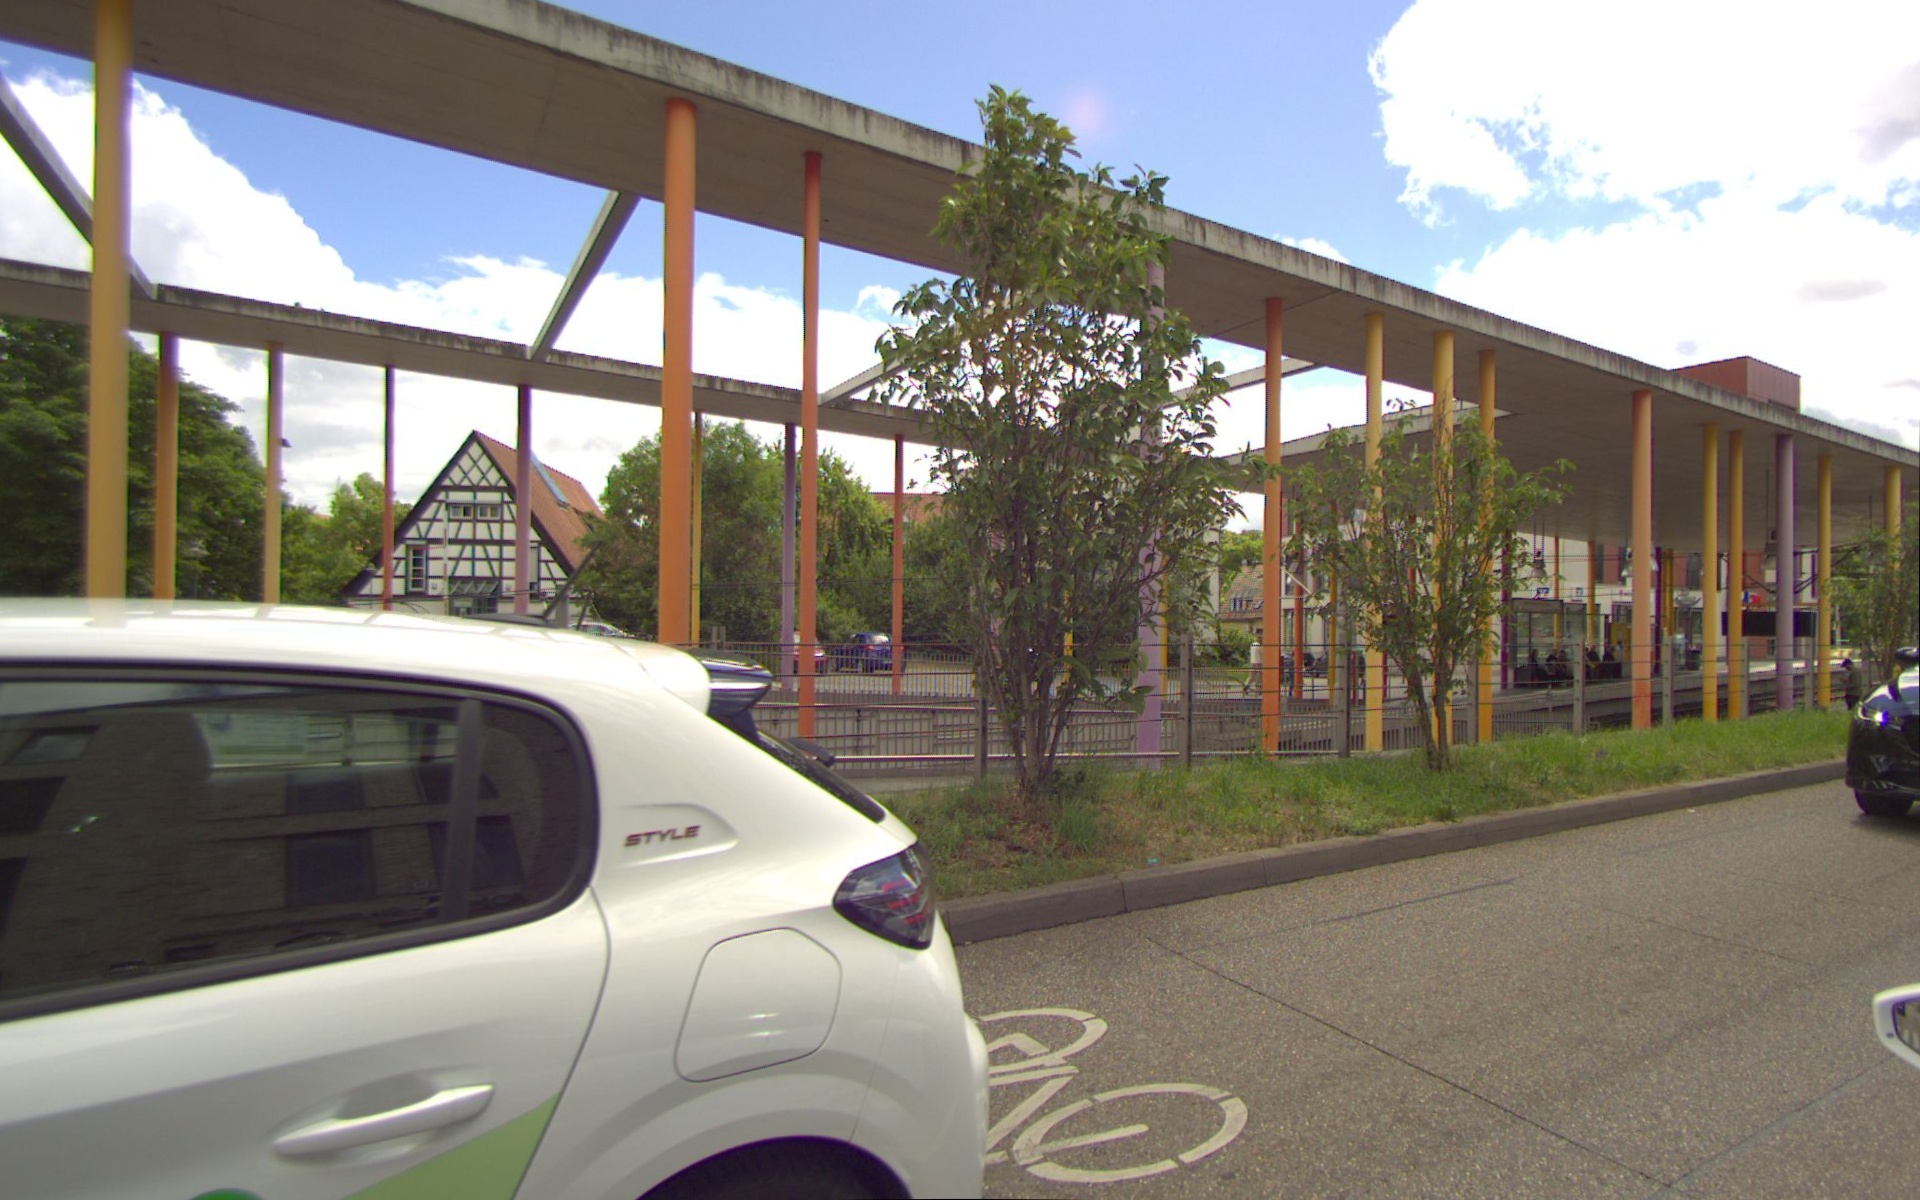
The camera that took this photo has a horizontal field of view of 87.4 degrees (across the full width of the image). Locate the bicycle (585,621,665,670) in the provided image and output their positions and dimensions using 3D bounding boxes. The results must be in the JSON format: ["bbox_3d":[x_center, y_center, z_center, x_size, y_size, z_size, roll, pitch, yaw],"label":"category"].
[{"bbox_3d":[-9.290,1.265,27.933,2.028,1.286,0.531,3,-1,-19],"label":"bicycle"}]

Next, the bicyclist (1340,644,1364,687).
[{"bbox_3d":[15.004,2.508,38.425,0.673,1.614,0.481,3,-1,-29],"label":"bicyclist"}]

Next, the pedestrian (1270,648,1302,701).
[{"bbox_3d":[10.628,2.434,32.762,0.722,1.683,0.638,3,-1,-31],"label":"pedestrian"}]

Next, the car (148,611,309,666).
[{"bbox_3d":[-24.025,1.214,33.182,3.943,1.692,1.894,0,0,-23],"label":"car"}]

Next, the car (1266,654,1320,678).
[{"bbox_3d":[20.205,4.033,61.054,1.617,1.342,3.715,3,-5,-8],"label":"car"}]

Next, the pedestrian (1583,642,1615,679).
[{"bbox_3d":[24.752,2.333,38.897,0.694,1.397,0.818,0,1,-30],"label":"pedestrian"}]

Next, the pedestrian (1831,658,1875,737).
[{"bbox_3d":[21.916,2.383,24.649,0.701,1.854,0.584,3,-1,-30],"label":"pedestrian"}]

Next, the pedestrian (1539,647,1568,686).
[{"bbox_3d":[22.157,2.469,37.504,0.694,1.397,0.648,0,1,-31],"label":"pedestrian"}]

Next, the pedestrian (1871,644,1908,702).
[{"bbox_3d":[27.323,2.127,29.533,0.628,1.636,0.626,0,1,-30],"label":"pedestrian"}]

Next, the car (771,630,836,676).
[{"bbox_3d":[-5.454,1.776,34.617,1.698,1.355,3.987,3,-1,-16],"label":"car"}]

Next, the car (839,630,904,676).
[{"bbox_3d":[-3.246,1.880,36.219,1.545,1.419,3.987,3,-1,-16],"label":"car"}]

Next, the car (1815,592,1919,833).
[{"bbox_3d":[8.587,0.807,7.701,4.578,1.626,1.908,1,0,-34],"label":"car"}]

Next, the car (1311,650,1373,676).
[{"bbox_3d":[21.119,3.534,55.705,1.617,1.342,3.715,3,-5,-8],"label":"car"}]

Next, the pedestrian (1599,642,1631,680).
[{"bbox_3d":[25.649,2.376,39.358,0.694,1.397,0.818,0,1,-30],"label":"pedestrian"}]

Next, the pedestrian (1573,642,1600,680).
[{"bbox_3d":[23.996,2.346,38.477,0.694,1.397,0.648,0,1,-31],"label":"pedestrian"}]

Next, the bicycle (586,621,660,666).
[{"bbox_3d":[-10.118,1.310,30.216,2.028,1.286,0.531,3,-1,-19],"label":"bicycle"}]

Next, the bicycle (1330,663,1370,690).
[{"bbox_3d":[14.916,2.938,38.387,1.593,0.975,0.481,3,-1,-29],"label":"bicycle"}]

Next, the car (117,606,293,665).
[{"bbox_3d":[-23.089,1.051,30.914,3.943,1.692,1.894,0,0,-23],"label":"car"}]

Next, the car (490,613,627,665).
[{"bbox_3d":[-13.831,1.351,34.880,4.201,1.595,1.907,3,-1,-19],"label":"car"}]

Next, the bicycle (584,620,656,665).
[{"bbox_3d":[-10.409,1.314,30.809,2.028,1.286,0.531,3,-1,-19],"label":"bicycle"}]

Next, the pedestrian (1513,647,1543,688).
[{"bbox_3d":[20.689,2.449,36.592,0.697,1.397,0.682,0,1,-31],"label":"pedestrian"}]

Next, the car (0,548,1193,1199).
[{"bbox_3d":[-1.683,0.679,1.656,3.862,1.488,1.802,1,0,-31],"label":"car"}]

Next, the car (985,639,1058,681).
[{"bbox_3d":[2.314,2.294,38.778,1.545,1.355,3.987,3,-1,-16],"label":"car"}]

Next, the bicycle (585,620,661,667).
[{"bbox_3d":[-9.782,1.264,29.184,2.028,1.286,0.531,3,-1,-19],"label":"bicycle"}]

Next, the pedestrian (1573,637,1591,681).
[{"bbox_3d":[25.787,2.436,41.664,0.487,1.799,0.479,0,1,-34],"label":"pedestrian"}]

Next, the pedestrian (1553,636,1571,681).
[{"bbox_3d":[25.319,2.436,42.232,0.487,1.845,0.479,0,1,-34],"label":"pedestrian"}]

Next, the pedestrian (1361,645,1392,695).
[{"bbox_3d":[14.531,2.449,35.040,0.722,1.683,0.638,3,-1,-31],"label":"pedestrian"}]

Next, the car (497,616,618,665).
[{"bbox_3d":[-14.695,1.487,36.925,3.938,1.595,1.907,3,-1,-19],"label":"car"}]

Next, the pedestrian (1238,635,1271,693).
[{"bbox_3d":[9.832,2.138,33.577,0.791,1.908,0.638,3,-1,-31],"label":"pedestrian"}]

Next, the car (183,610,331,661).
[{"bbox_3d":[-24.785,1.208,35.587,3.943,1.692,1.894,0,0,-23],"label":"car"}]

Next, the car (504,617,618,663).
[{"bbox_3d":[-15.481,1.542,39.197,3.938,1.595,1.907,3,-1,-19],"label":"car"}]

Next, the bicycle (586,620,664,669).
[{"bbox_3d":[-9.522,1.264,28.590,2.028,1.286,0.531,3,-1,-19],"label":"bicycle"}]
